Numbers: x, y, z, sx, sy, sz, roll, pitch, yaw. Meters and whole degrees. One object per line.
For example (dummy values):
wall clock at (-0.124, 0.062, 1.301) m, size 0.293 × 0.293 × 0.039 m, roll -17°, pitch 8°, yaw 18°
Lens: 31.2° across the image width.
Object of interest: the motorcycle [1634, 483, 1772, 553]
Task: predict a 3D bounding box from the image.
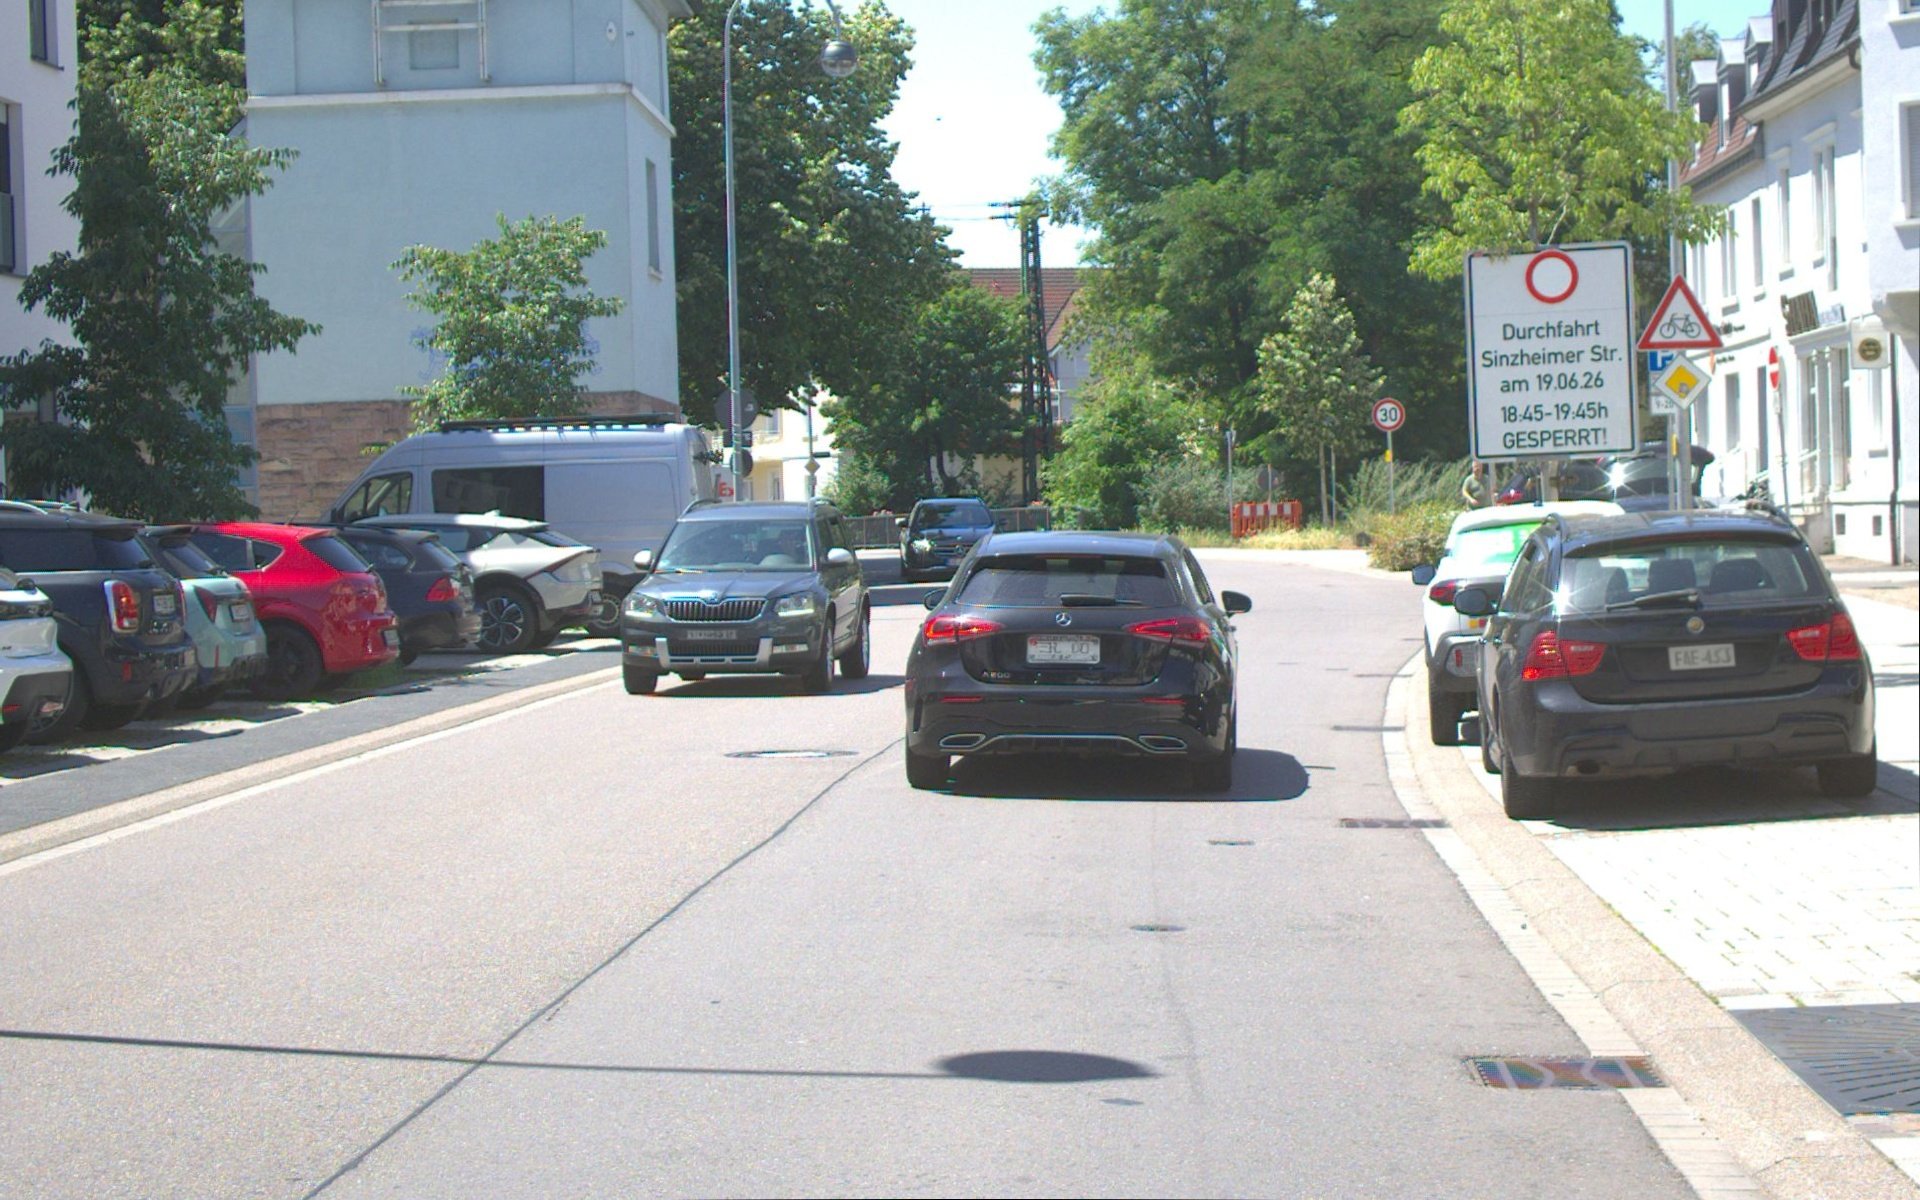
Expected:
motorcycle at (13.672, -1.508, 63.325) m, size 2.377 × 1.271 × 0.856 m, roll 0°, pitch 2°, yaw 3°

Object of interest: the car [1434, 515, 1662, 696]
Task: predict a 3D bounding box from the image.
car at (5.052, 0.000, 30.010) m, size 1.725 × 1.400 × 4.608 m, roll -2°, pitch 1°, yaw 7°

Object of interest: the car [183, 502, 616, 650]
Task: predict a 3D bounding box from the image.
car at (-6.215, -0.285, 38.455) m, size 4.454 × 1.586 × 2.000 m, roll 0°, pitch 1°, yaw 4°

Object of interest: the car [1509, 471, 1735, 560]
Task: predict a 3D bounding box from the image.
car at (12.890, -1.646, 67.128) m, size 4.075 × 1.710 × 1.856 m, roll 0°, pitch 1°, yaw 2°

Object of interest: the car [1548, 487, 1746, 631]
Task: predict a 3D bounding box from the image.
car at (8.240, -0.521, 41.002) m, size 1.873 × 1.486 × 3.859 m, roll -2°, pitch 2°, yaw 17°

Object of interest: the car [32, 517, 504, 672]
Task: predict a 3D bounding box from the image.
car at (-6.634, -0.069, 33.268) m, size 4.199 × 1.432 × 1.886 m, roll 0°, pitch 1°, yaw 0°

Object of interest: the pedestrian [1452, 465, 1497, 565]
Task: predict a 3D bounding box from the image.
pedestrian at (9.350, -1.550, 62.487) m, size 0.746 × 1.790 × 0.843 m, roll -1°, pitch 3°, yaw 11°

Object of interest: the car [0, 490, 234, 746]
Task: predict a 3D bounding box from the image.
car at (-7.204, 0.088, 23.349) m, size 4.033 × 1.645 × 2.000 m, roll 0°, pitch 1°, yaw 6°

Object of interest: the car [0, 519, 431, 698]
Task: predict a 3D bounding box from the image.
car at (-6.664, 0.040, 28.807) m, size 4.033 × 1.425 × 2.000 m, roll 0°, pitch 1°, yaw 6°

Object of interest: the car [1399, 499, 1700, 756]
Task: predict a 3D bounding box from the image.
car at (3.930, 0.134, 23.128) m, size 1.738 × 1.481 × 4.053 m, roll -3°, pitch 1°, yaw 9°

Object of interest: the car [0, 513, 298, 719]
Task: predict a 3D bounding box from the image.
car at (-7.295, 0.086, 26.175) m, size 4.033 × 1.491 × 2.000 m, roll 0°, pitch 1°, yaw 6°

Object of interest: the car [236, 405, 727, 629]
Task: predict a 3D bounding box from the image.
car at (-5.965, -1.052, 43.332) m, size 5.768 × 2.723 × 2.291 m, roll 0°, pitch 1°, yaw 5°

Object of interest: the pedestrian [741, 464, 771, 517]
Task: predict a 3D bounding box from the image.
pedestrian at (-6.682, -3.590, 112.755) m, size 0.661 × 1.735 × 0.702 m, roll -2°, pitch 1°, yaw -39°

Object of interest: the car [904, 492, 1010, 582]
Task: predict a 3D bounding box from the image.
car at (-0.068, -1.203, 63.831) m, size 1.893 × 1.548 × 4.799 m, roll 0°, pitch 2°, yaw 0°

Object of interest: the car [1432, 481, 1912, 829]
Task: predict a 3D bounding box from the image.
car at (3.491, 0.236, 17.570) m, size 1.833 × 1.477 × 4.095 m, roll -3°, pitch 0°, yaw 5°

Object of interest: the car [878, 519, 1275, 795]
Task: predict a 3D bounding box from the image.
car at (0.786, 0.299, 20.062) m, size 1.828 × 1.437 × 3.998 m, roll 0°, pitch 0°, yaw 9°

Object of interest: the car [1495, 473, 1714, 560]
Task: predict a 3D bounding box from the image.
car at (12.936, -1.677, 69.174) m, size 4.075 × 1.710 × 1.856 m, roll 0°, pitch 1°, yaw 2°

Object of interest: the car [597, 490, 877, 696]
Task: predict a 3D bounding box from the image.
car at (-1.904, -0.103, 30.544) m, size 1.811 × 1.695 × 4.075 m, roll 1°, pitch 1°, yaw 6°

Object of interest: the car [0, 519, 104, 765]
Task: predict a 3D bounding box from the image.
car at (-7.449, 0.211, 20.842) m, size 3.987 × 1.416 × 1.910 m, roll 0°, pitch 1°, yaw 4°
